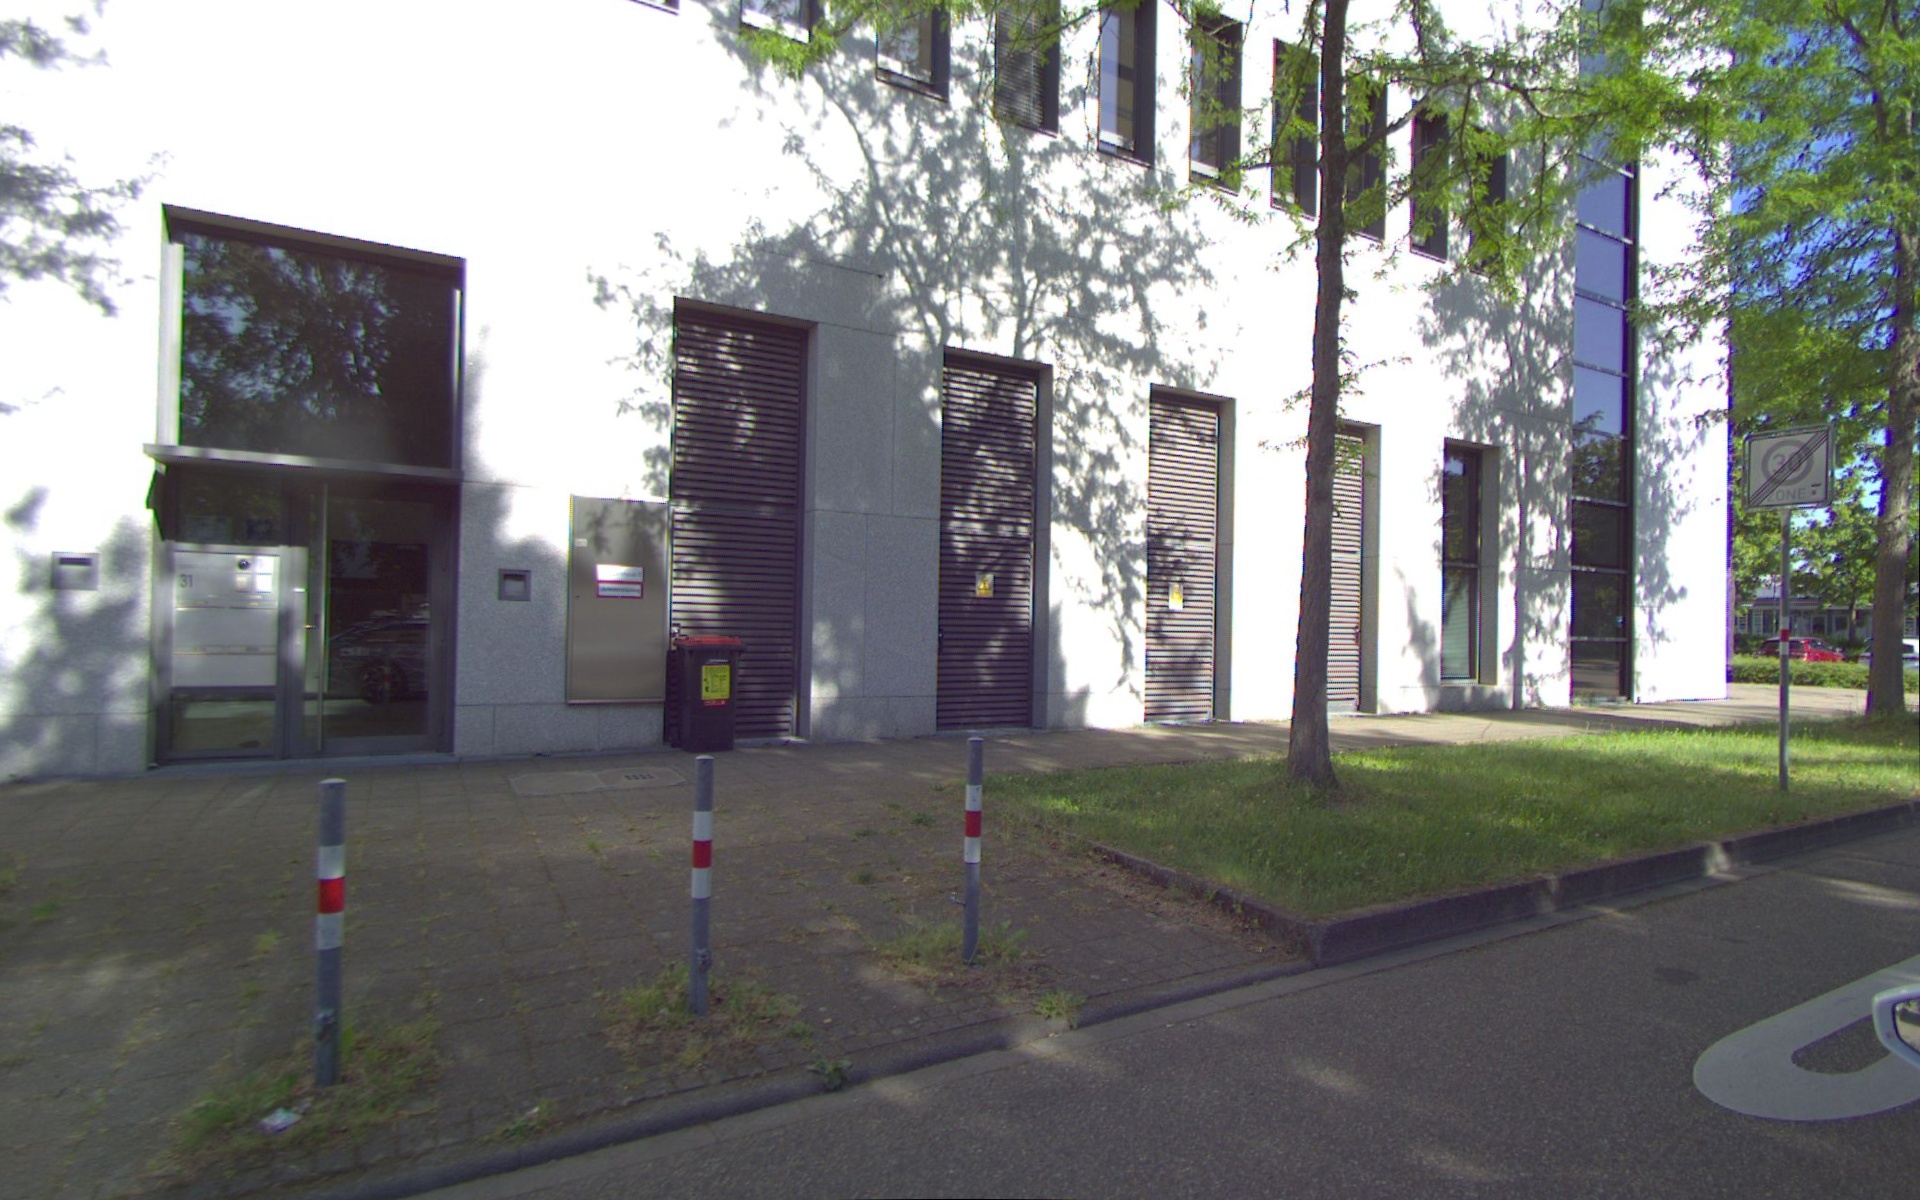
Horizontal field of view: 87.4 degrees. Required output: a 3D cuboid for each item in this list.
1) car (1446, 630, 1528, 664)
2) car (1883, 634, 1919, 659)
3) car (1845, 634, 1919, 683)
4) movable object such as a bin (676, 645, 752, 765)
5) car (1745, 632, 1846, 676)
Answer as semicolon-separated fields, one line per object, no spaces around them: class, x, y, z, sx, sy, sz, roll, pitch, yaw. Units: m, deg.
car;24.388;2.147;46.442;3.868;1.487;1.607;1;0;-32
car;59.909;2.885;63.010;3.858;1.517;1.829;1;-1;-28
car;31.421;1.905;33.516;3.867;1.456;1.793;0;0;-32
movable object such as a bin;-2.317;0.961;9.448;0.537;1.054;0.590;1;0;-31
car;30.112;1.898;36.170;3.868;1.445;1.658;1;0;-32
